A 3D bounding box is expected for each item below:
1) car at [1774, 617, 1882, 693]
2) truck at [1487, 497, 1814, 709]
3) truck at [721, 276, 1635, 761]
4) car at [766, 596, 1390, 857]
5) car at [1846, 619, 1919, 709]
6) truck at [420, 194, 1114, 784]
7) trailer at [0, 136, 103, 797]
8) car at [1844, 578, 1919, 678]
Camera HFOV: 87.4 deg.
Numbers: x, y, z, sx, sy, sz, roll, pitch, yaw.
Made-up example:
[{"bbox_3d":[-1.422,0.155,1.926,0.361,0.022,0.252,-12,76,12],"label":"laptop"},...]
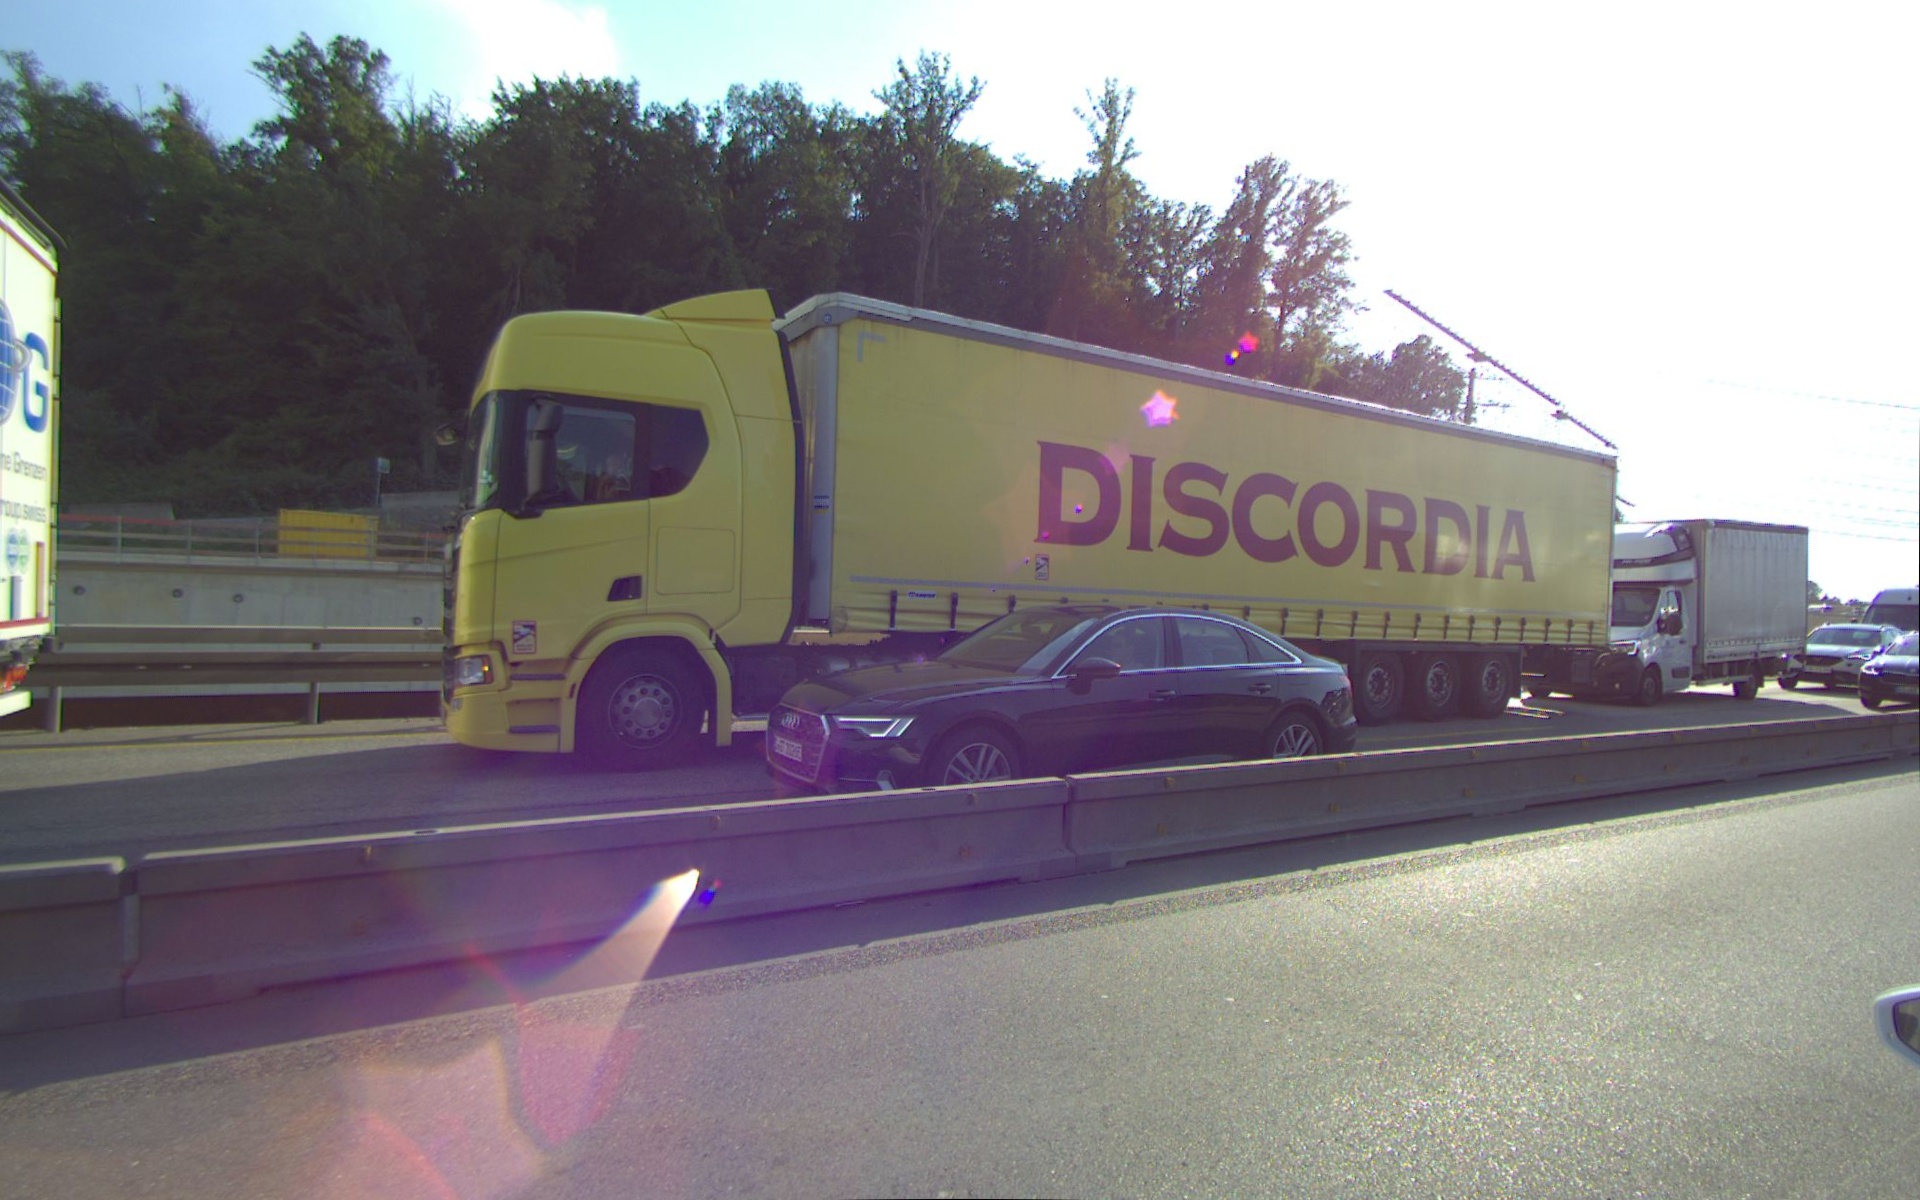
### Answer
[{"bbox_3d":[20.345,1.221,23.630,1.743,1.544,3.983,3,1,40],"label":"car"},{"bbox_3d":[13.682,0.112,19.668,7.533,3.509,2.433,2,1,-32],"label":"truck"},{"bbox_3d":[4.083,-0.496,13.449,13.996,4.142,2.693,2,0,-32],"label":"truck"},{"bbox_3d":[1.040,0.783,7.710,4.621,1.445,1.798,2,1,-32],"label":"car"},{"bbox_3d":[18.621,1.207,18.959,4.239,1.544,1.645,2,1,-32],"label":"car"},{"bbox_3d":[-1.728,-0.700,9.814,6.033,4.142,2.699,2,0,-32],"label":"truck"},{"bbox_3d":[-12.336,-1.009,3.496,13.804,4.089,2.844,2,0,-30],"label":"trailer"},{"bbox_3d":[27.566,0.833,28.726,5.687,2.655,1.945,2,0,-33],"label":"car"}]
